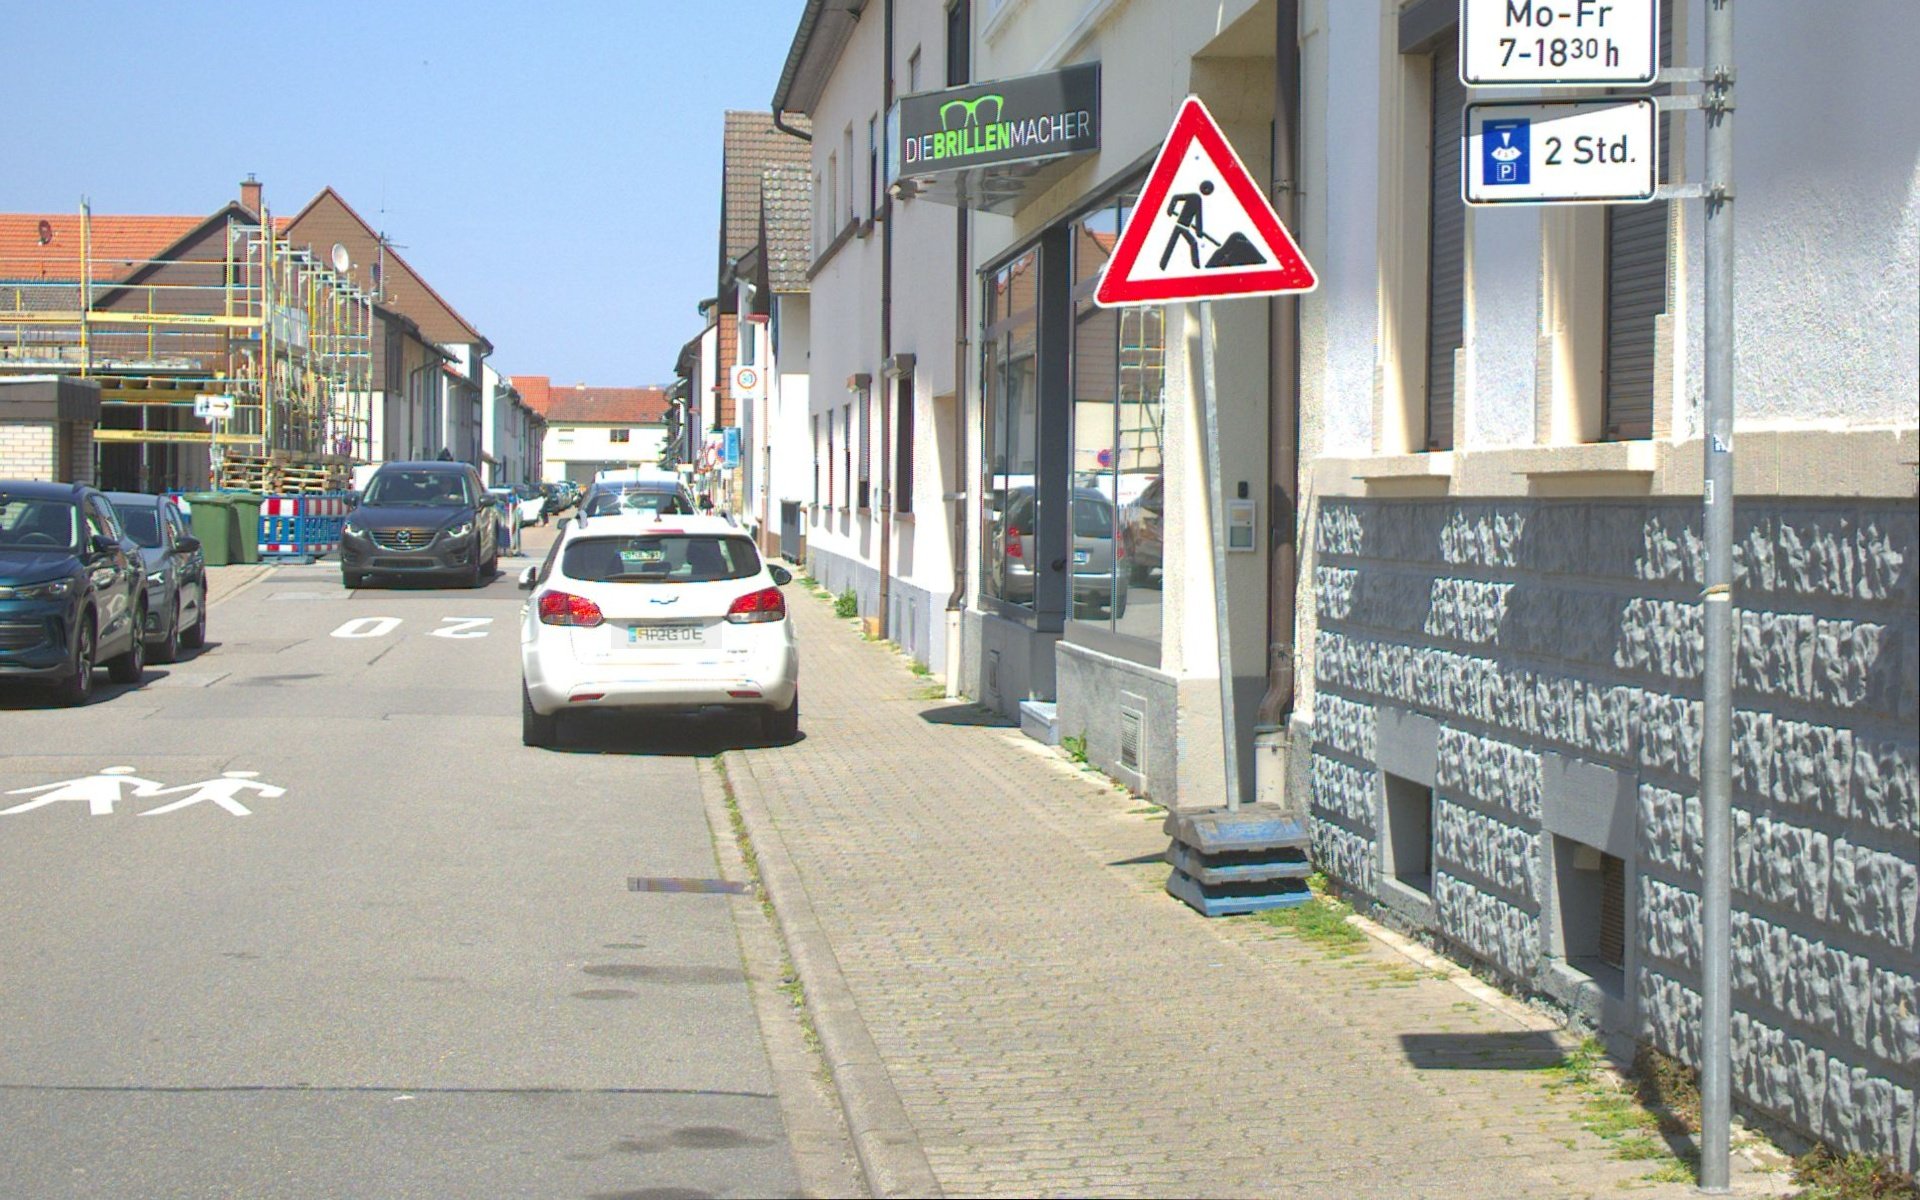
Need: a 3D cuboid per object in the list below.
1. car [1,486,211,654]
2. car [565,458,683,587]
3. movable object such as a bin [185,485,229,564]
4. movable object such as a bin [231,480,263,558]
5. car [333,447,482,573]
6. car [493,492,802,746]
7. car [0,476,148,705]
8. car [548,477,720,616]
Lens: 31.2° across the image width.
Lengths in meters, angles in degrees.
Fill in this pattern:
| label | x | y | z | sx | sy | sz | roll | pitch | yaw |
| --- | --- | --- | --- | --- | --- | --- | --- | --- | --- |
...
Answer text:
| label | x | y | z | sx | sy | sz | roll | pitch | yaw |
| --- | --- | --- | --- | --- | --- | --- | --- | --- | --- |
| car | -7.917 | -0.315 | 32.111 | 1.436 | 1.469 | 3.787 | 0 | 2 | -7 |
| car | -4.718 | -1.119 | 48.210 | 1.564 | 1.607 | 3.544 | 1 | 4 | -6 |
| movable object such as a bin | -11.166 | -1.117 | 50.982 | 0.621 | 1.151 | 0.677 | 0 | 2 | -12 |
| movable object such as a bin | -10.686 | -1.212 | 51.517 | 0.431 | 1.151 | 0.364 | 0 | 2 | -15 |
| car | -7.672 | -1.272 | 47.995 | 1.881 | 1.662 | 4.155 | 1 | 2 | -7 |
| car | -2.134 | 0.057 | 23.368 | 1.886 | 1.536 | 4.244 | 1 | 2 | -5 |
| car | -7.447 | -0.141 | 26.561 | 1.826 | 1.625 | 4.218 | 1 | 2 | -7 |
| car | -4.131 | -0.707 | 43.071 | 1.884 | 1.550 | 3.896 | -3 | 3 | -8 |
